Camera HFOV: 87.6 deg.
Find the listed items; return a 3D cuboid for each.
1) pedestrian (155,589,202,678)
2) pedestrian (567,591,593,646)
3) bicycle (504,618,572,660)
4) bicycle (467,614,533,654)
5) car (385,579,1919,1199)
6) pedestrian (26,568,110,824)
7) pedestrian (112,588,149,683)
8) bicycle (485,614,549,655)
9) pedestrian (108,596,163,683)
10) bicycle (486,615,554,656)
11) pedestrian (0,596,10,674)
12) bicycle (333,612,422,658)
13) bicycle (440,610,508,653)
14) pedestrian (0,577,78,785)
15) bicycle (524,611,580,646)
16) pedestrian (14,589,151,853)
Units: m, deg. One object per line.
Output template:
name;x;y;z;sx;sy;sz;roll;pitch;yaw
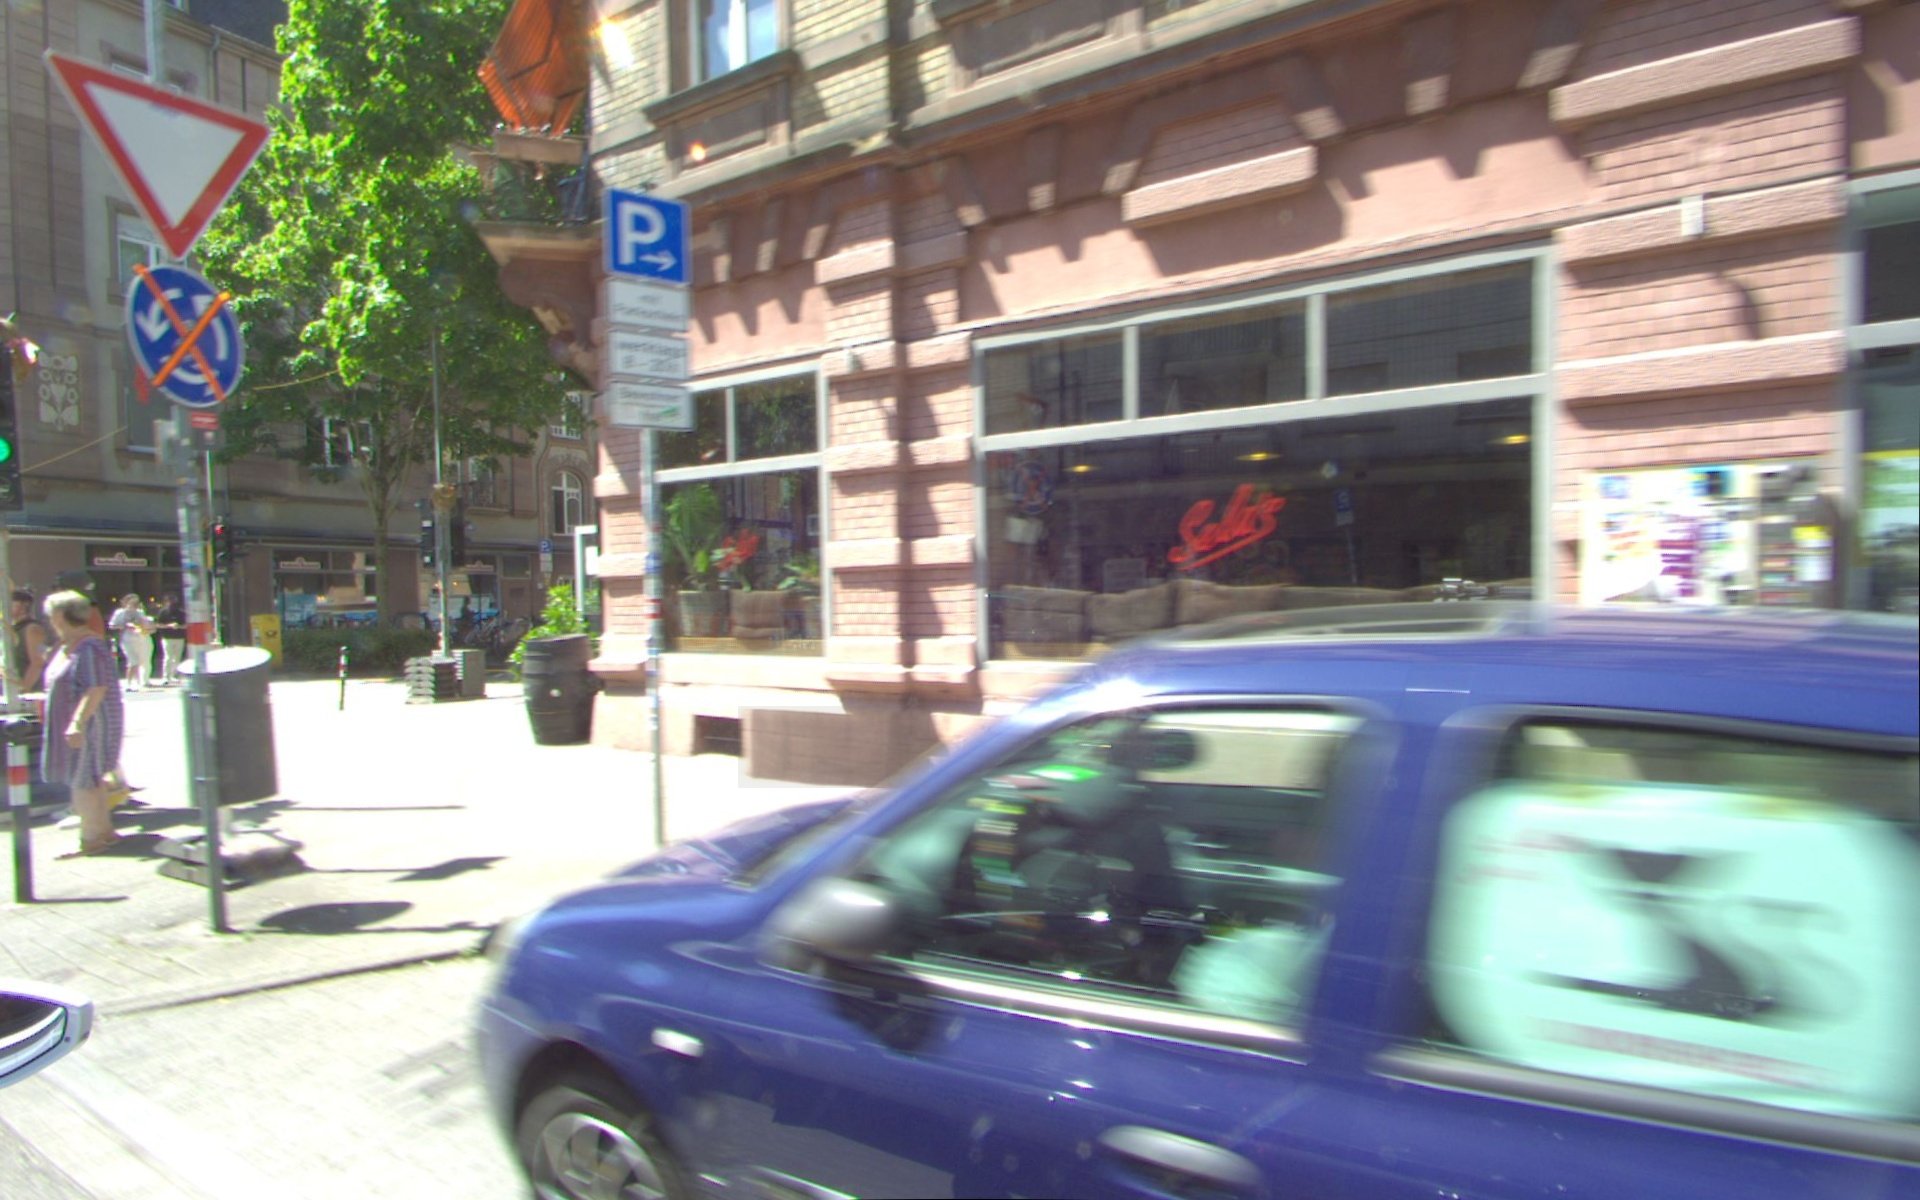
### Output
pedestrian;-16.355;0.681;20.956;0.463;1.794;0.575;3;5;24
pedestrian;-11.553;0.555;30.428;0.552;1.636;0.489;0;2;37
bicycle;-11.133;1.018;26.457;0.463;1.010;1.758;2;2;28
bicycle;-12.770;0.922;27.837;0.463;1.010;1.758;2;2;28
car;0.718;0.718;1.984;3.606;1.452;1.624;-1;2;31
pedestrian;-6.118;0.636;6.869;0.396;1.698;0.331;0;1;38
pedestrian;-15.665;0.667;18.917;0.473;1.755;0.865;-2;0;-39
bicycle;-12.135;0.932;27.451;0.463;1.019;1.682;2;2;28
pedestrian;-16.640;0.784;20.217;0.415;1.669;0.701;3;5;24
bicycle;-11.793;0.937;26.889;0.463;1.010;1.758;2;2;28
pedestrian;-20.696;0.743;21.079;0.790;1.645;0.641;-1;1;-20
bicycle;-15.357;0.904;26.441;1.964;1.147;0.512;-1;1;-41
bicycle;-13.453;0.859;27.747;0.463;1.095;1.758;2;2;28
pedestrian;-7.358;0.618;7.923;0.473;1.581;0.457;0;1;38
bicycle;-12.734;0.872;31.300;0.463;1.010;1.758;2;2;28
pedestrian;-5.494;0.723;6.276;0.431;1.564;0.490;0;3;38
